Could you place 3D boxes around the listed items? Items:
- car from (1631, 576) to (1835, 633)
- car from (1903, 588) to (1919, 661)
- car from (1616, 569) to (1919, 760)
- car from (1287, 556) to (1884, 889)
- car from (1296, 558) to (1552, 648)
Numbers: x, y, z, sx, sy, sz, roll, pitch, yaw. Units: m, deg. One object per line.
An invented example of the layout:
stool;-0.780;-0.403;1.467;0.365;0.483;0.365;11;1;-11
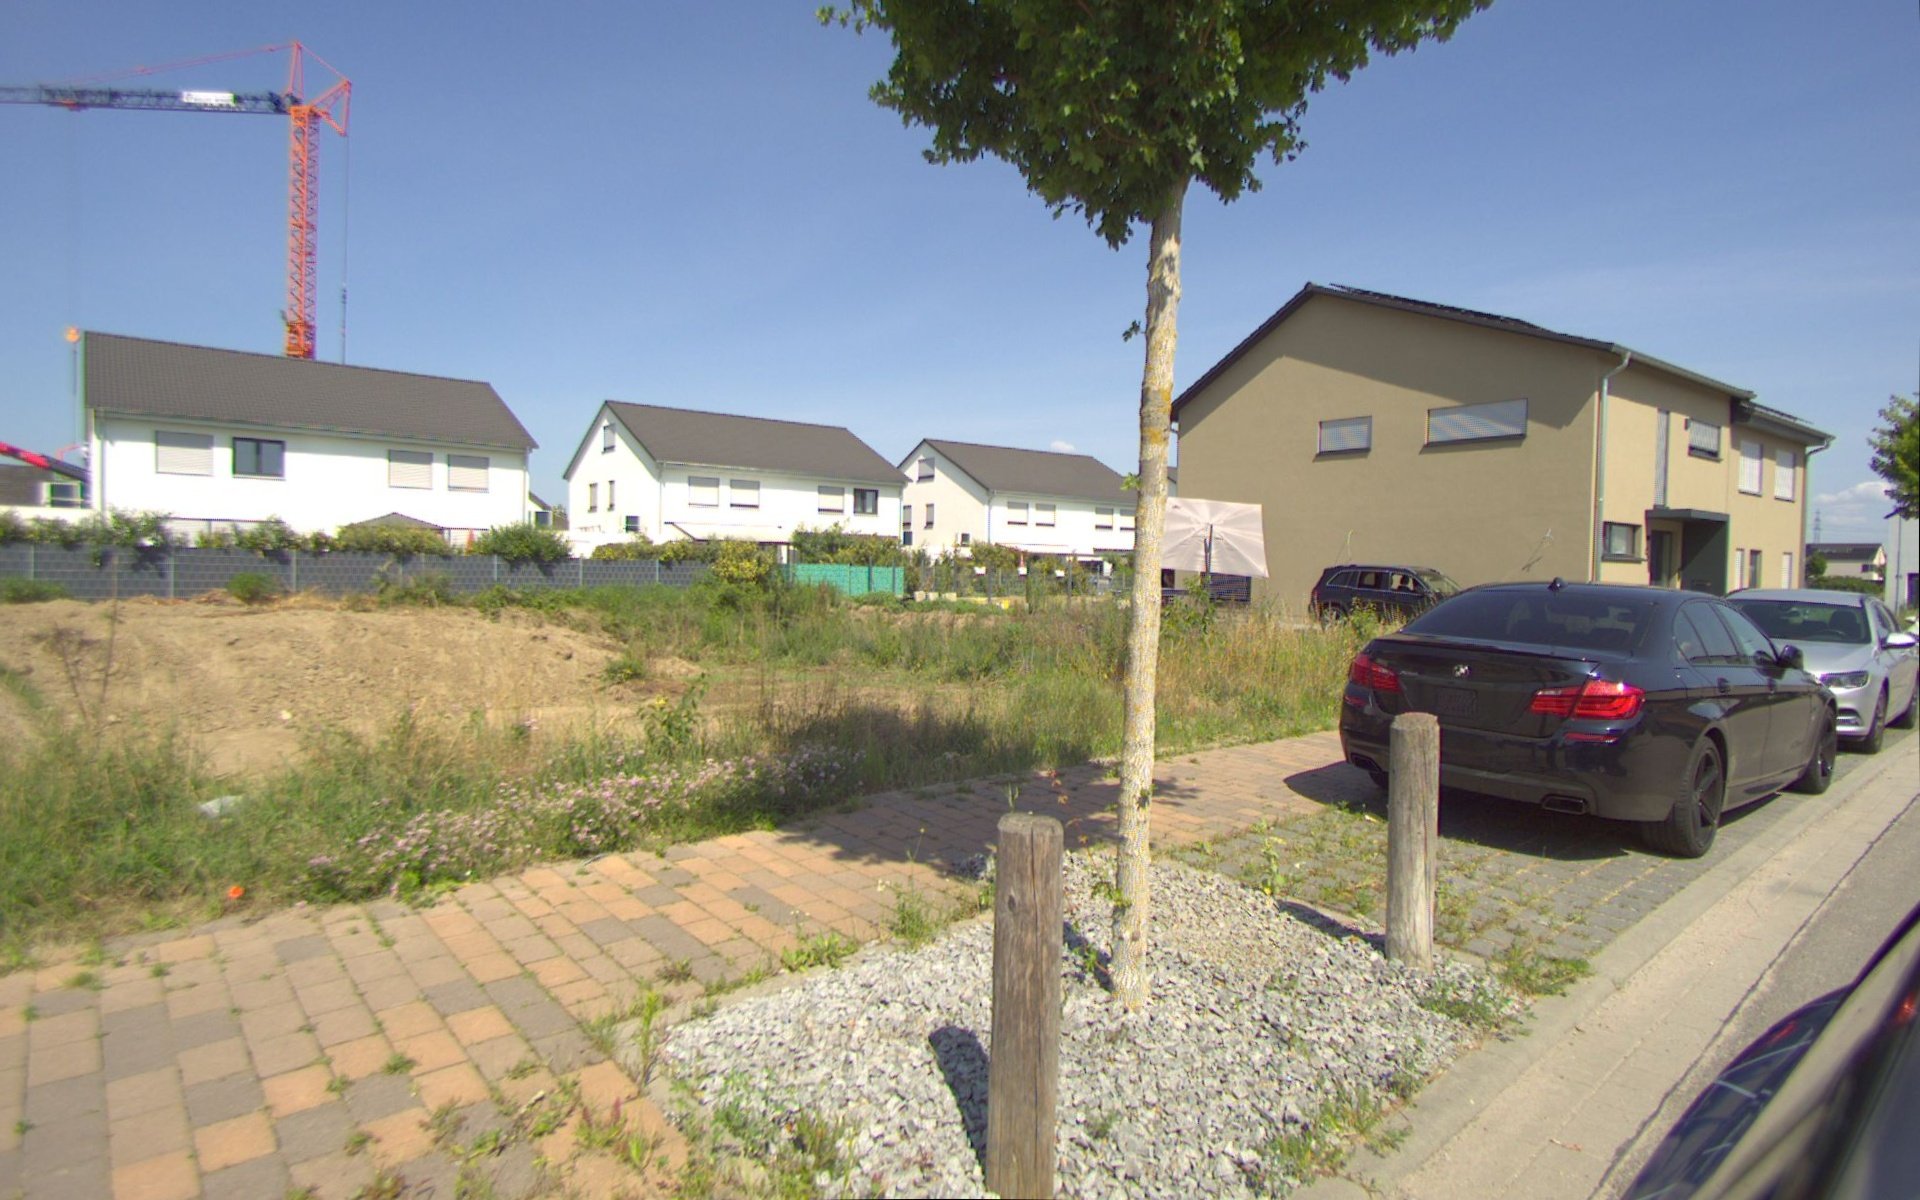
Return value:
car;25.361;0.105;33.400;1.961;1.443;4.909;1;4;-34
car;21.229;0.559;20.921;4.431;1.443;1.785;1;3;-38
car;9.096;0.539;10.943;5.201;1.529;1.923;1;3;-41
car;4.590;0.558;7.036;5.047;1.487;1.924;1;3;-39
car;10.136;-0.030;22.450;1.964;1.664;4.759;-1;4;-39
